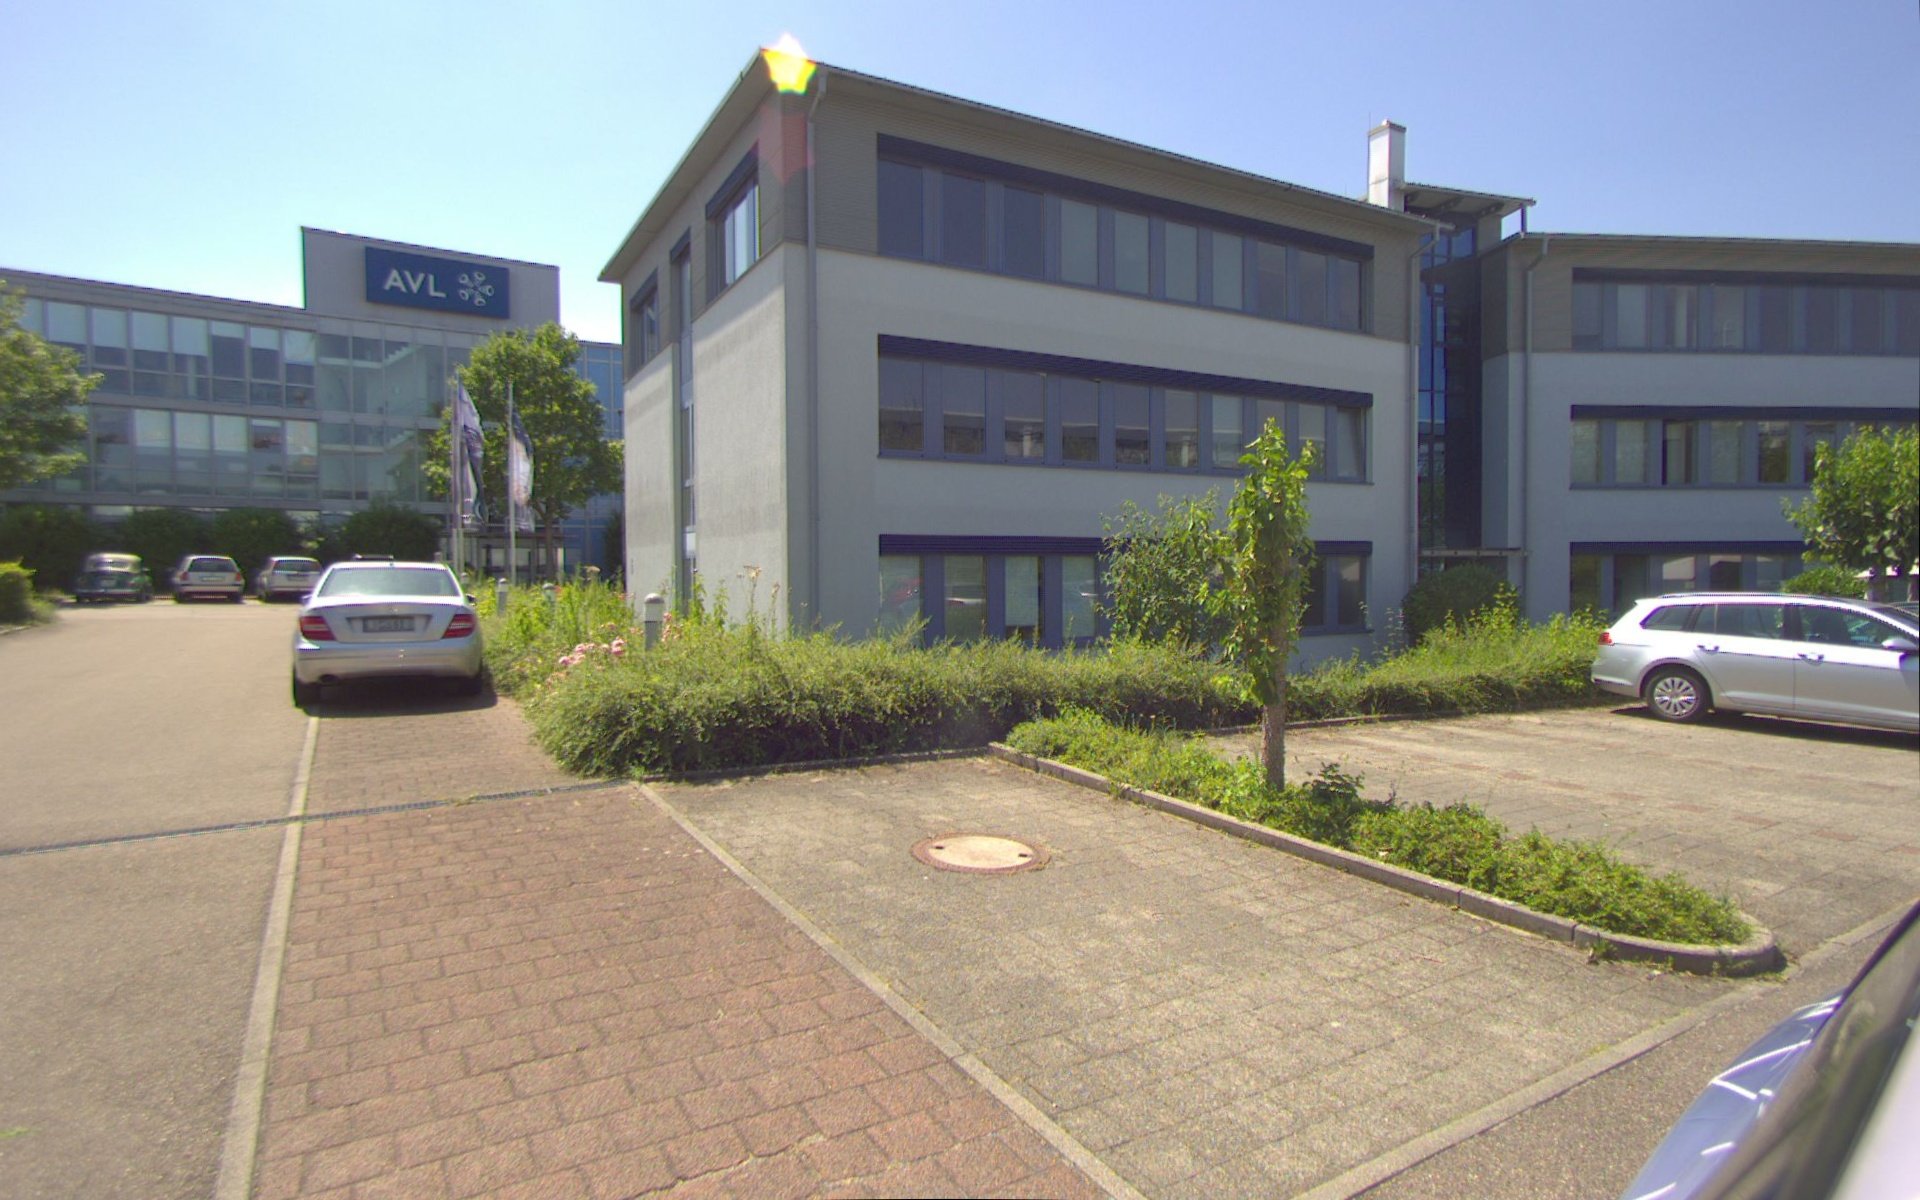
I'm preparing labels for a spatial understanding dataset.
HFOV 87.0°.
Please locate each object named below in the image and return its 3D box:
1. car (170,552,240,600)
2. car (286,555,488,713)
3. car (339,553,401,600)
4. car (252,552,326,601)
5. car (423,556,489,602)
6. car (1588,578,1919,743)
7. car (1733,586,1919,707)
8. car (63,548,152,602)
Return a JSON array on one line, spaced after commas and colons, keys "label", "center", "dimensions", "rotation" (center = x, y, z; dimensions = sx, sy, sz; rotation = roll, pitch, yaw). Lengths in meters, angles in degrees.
[{"label": "car", "center": [-24.255, -0.760, 32.462], "dimensions": [1.644, 1.458, 3.996], "rotation": [0, 1, -39]}, {"label": "car", "center": [-6.433, 0.274, 11.349], "dimensions": [1.695, 1.454, 3.720], "rotation": [0, 1, -31]}, {"label": "car", "center": [-20.581, -0.821, 35.235], "dimensions": [1.715, 1.538, 4.003], "rotation": [0, 1, -32]}, {"label": "car", "center": [-22.717, -0.784, 34.211], "dimensions": [1.718, 1.538, 3.996], "rotation": [0, 1, -39]}, {"label": "car", "center": [-18.164, -0.749, 36.390], "dimensions": [1.715, 1.538, 4.003], "rotation": [0, 1, -32]}, {"label": "car", "center": [9.500, 0.572, 10.696], "dimensions": [1.794, 1.515, 4.524], "rotation": [0, 2, -33]}, {"label": "car", "center": [12.389, 0.591, 12.785], "dimensions": [1.620, 1.408, 3.830], "rotation": [0, 2, -33]}, {"label": "car", "center": [-26.059, -0.762, 31.043], "dimensions": [1.716, 1.538, 4.000], "rotation": [0, 1, -35]}]
